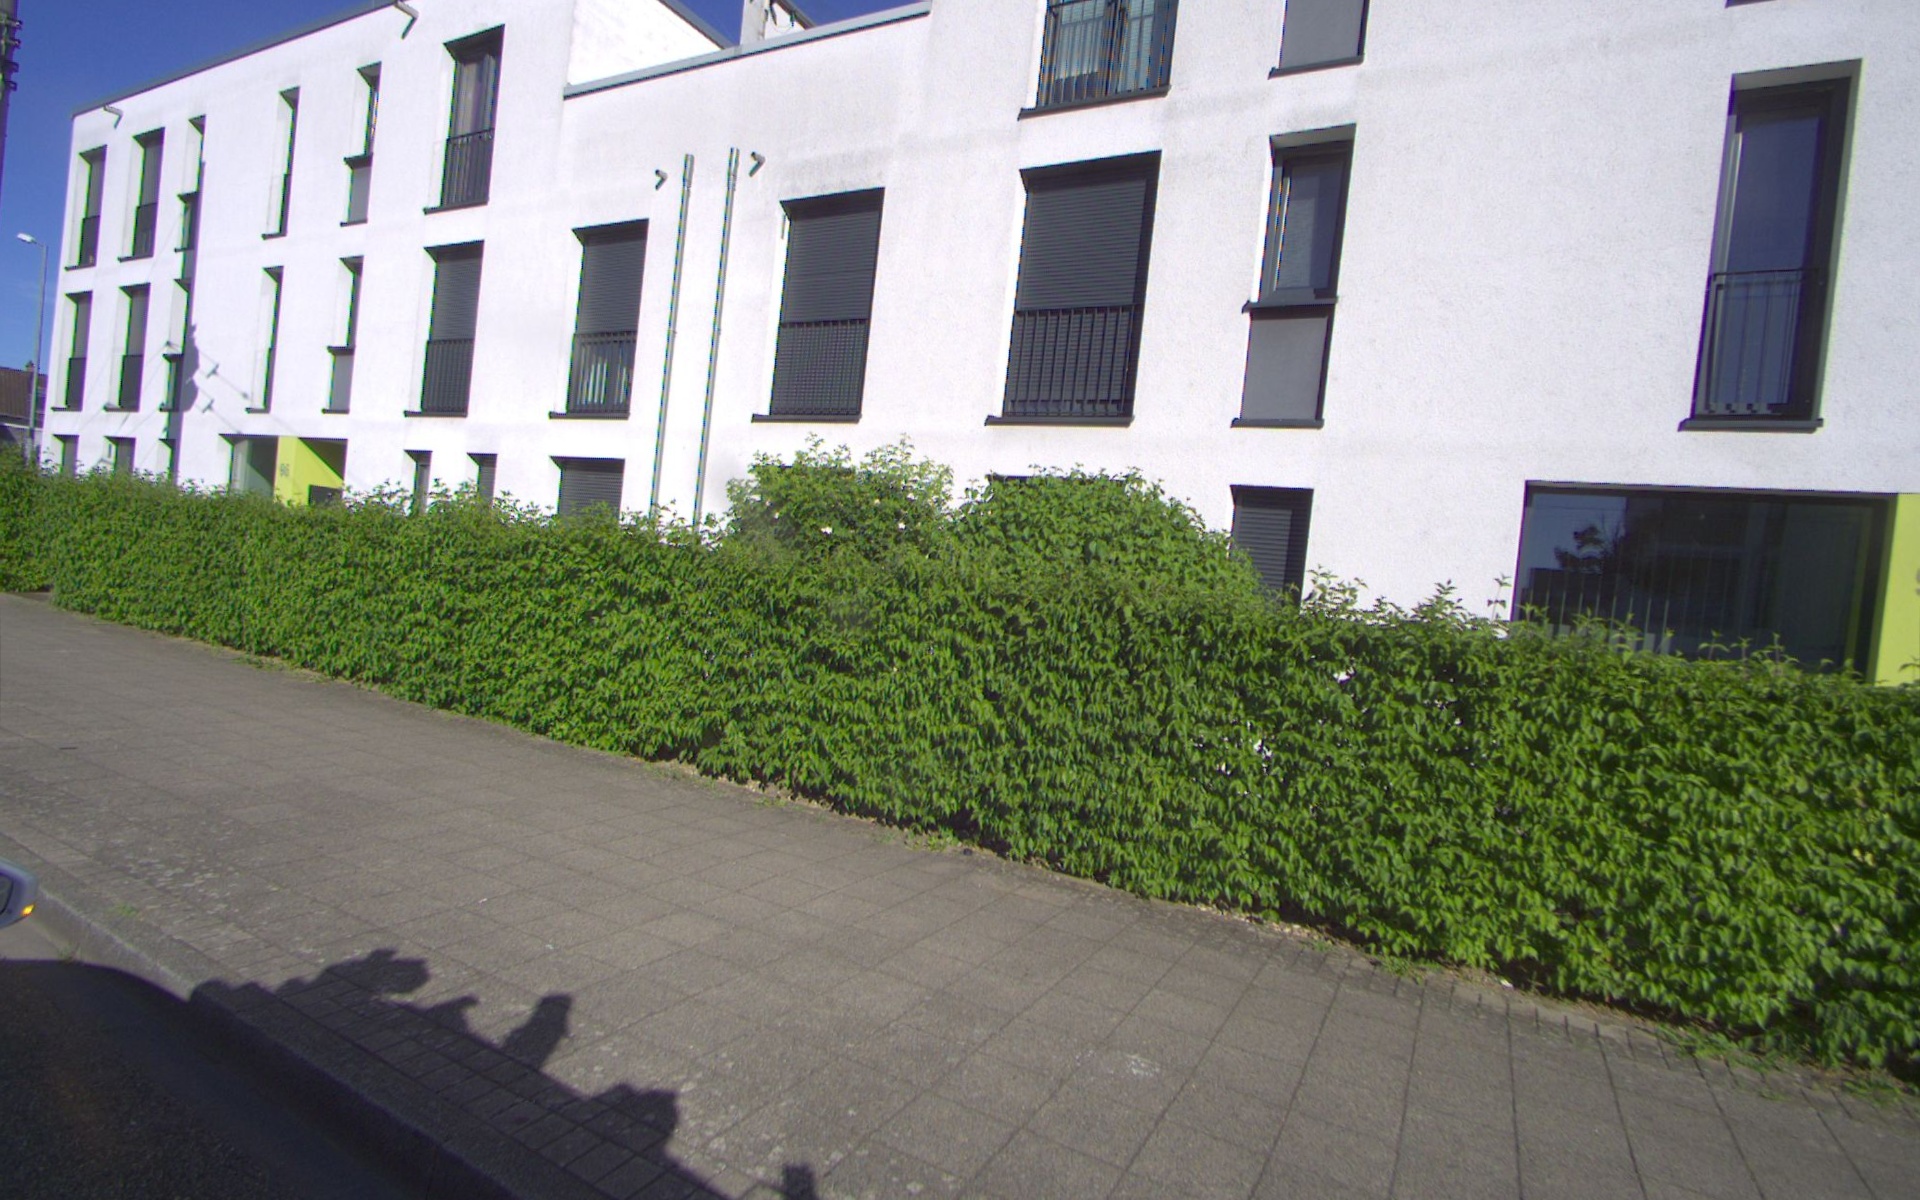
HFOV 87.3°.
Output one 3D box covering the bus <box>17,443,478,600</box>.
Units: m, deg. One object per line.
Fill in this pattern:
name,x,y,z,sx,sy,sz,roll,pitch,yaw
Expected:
bus,-26.068,-2.551,38.737,2.797,3.714,14.674,7,-1,26
